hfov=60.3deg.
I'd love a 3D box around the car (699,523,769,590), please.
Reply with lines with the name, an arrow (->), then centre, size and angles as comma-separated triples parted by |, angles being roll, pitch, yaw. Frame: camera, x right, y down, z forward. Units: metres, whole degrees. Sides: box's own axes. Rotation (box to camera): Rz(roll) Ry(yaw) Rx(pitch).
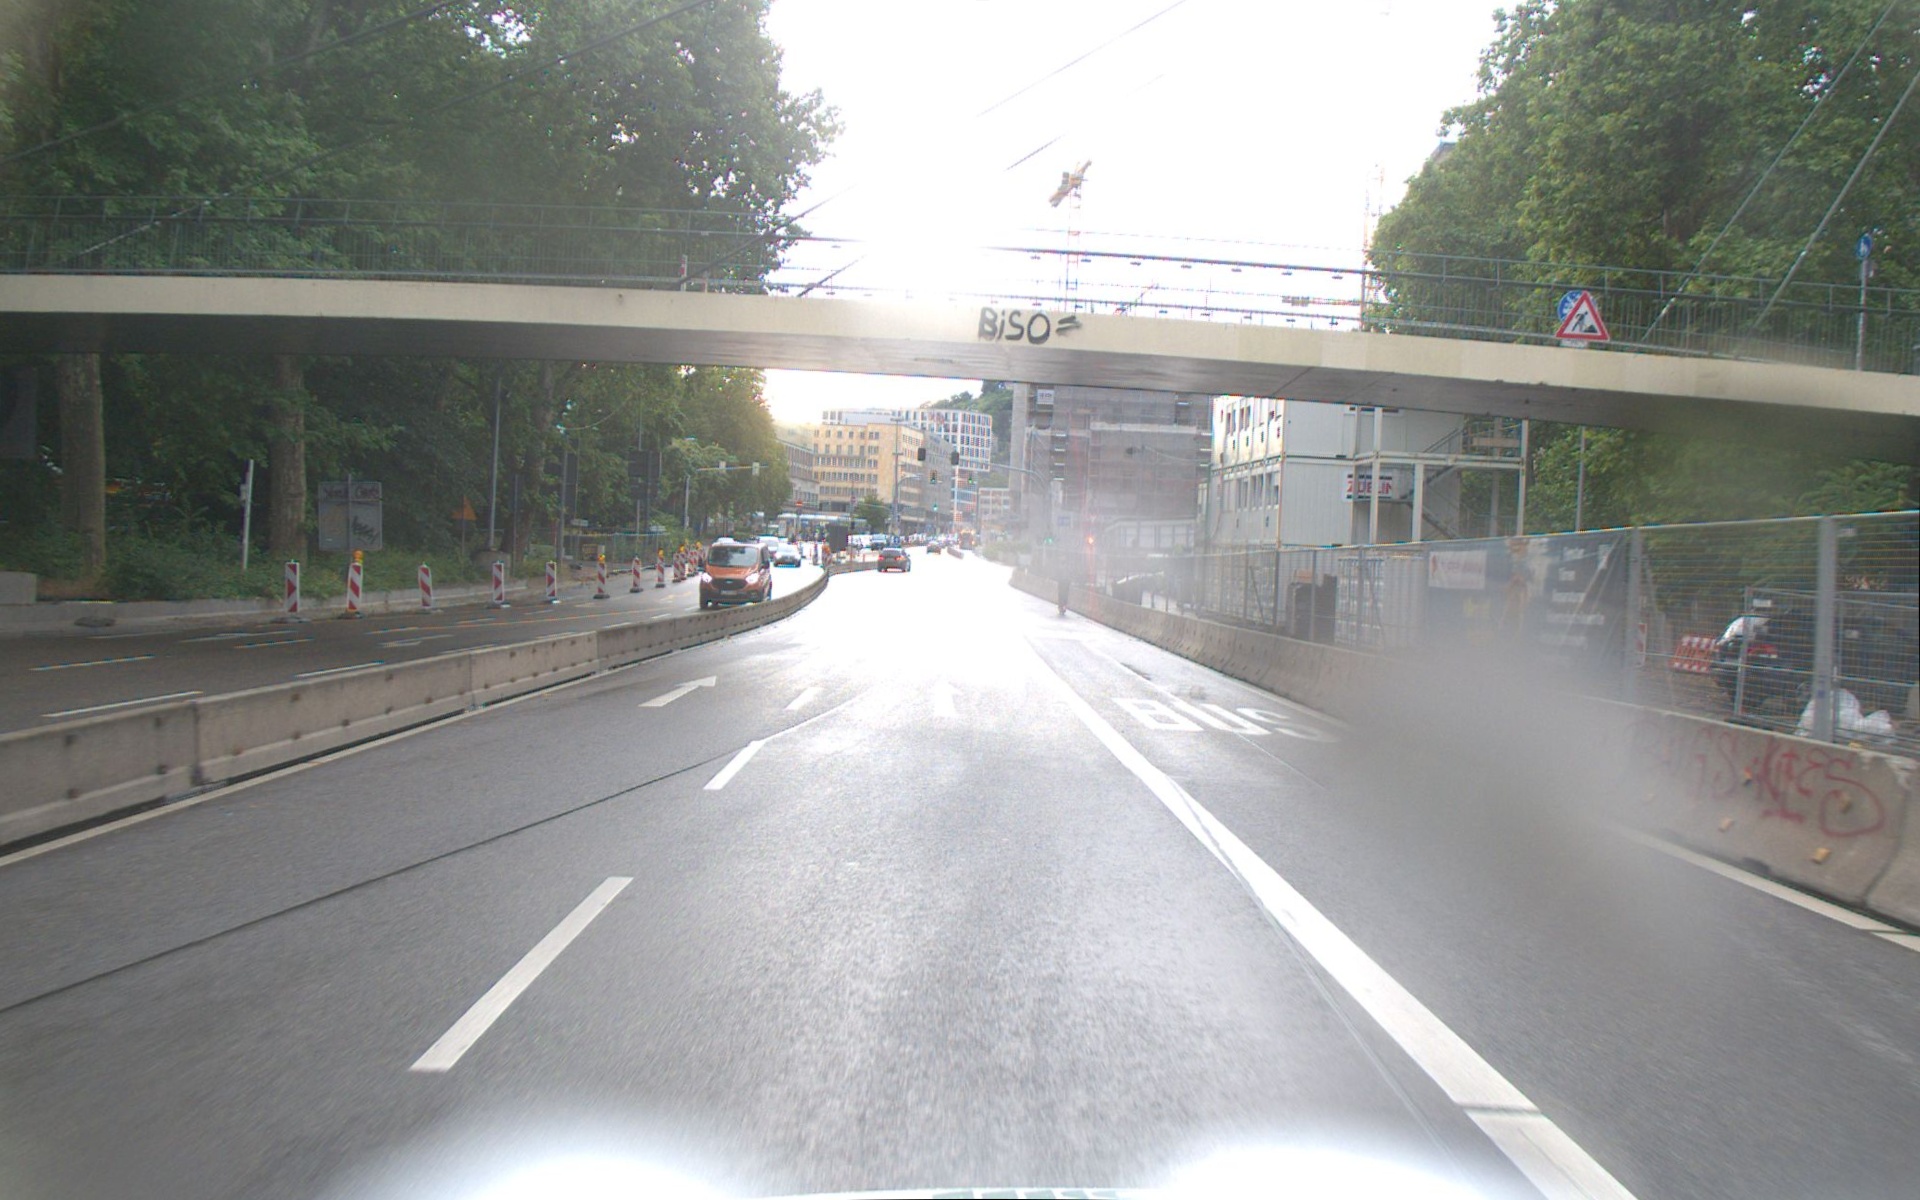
car -> -7.133, -1.331, 52.637 | 1.991, 1.970, 5.038 | 1, 0, -5

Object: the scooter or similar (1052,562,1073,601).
scooter or similar -> 3.648, -0.660, 59.077 | 0.585, 1.342, 1.668 | 3, 1, 1

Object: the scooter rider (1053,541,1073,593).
scooter rider -> 3.670, -1.182, 58.998 | 0.585, 1.816, 0.997 | 3, 1, 1

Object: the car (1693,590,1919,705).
car -> 15.388, 0.830, 28.707 | 4.413, 1.758, 1.997 | 3, 1, -7

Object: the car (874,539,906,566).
car -> -4.464, -3.001, 104.592 | 1.864, 1.554, 4.174 | 1, 0, -4

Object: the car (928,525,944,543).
car -> -2.969, -8.171, 205.279 | 1.953, 2.049, 3.999 | 1, 0, 0

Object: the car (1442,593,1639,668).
car -> 15.121, 0.772, 43.208 | 4.453, 1.657, 1.787 | 3, 2, -4

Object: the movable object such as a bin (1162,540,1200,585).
movable object such as a bin -> 11.662, -1.990, 87.237 | 1.438, 2.240, 1.256 | 2, 3, -25
